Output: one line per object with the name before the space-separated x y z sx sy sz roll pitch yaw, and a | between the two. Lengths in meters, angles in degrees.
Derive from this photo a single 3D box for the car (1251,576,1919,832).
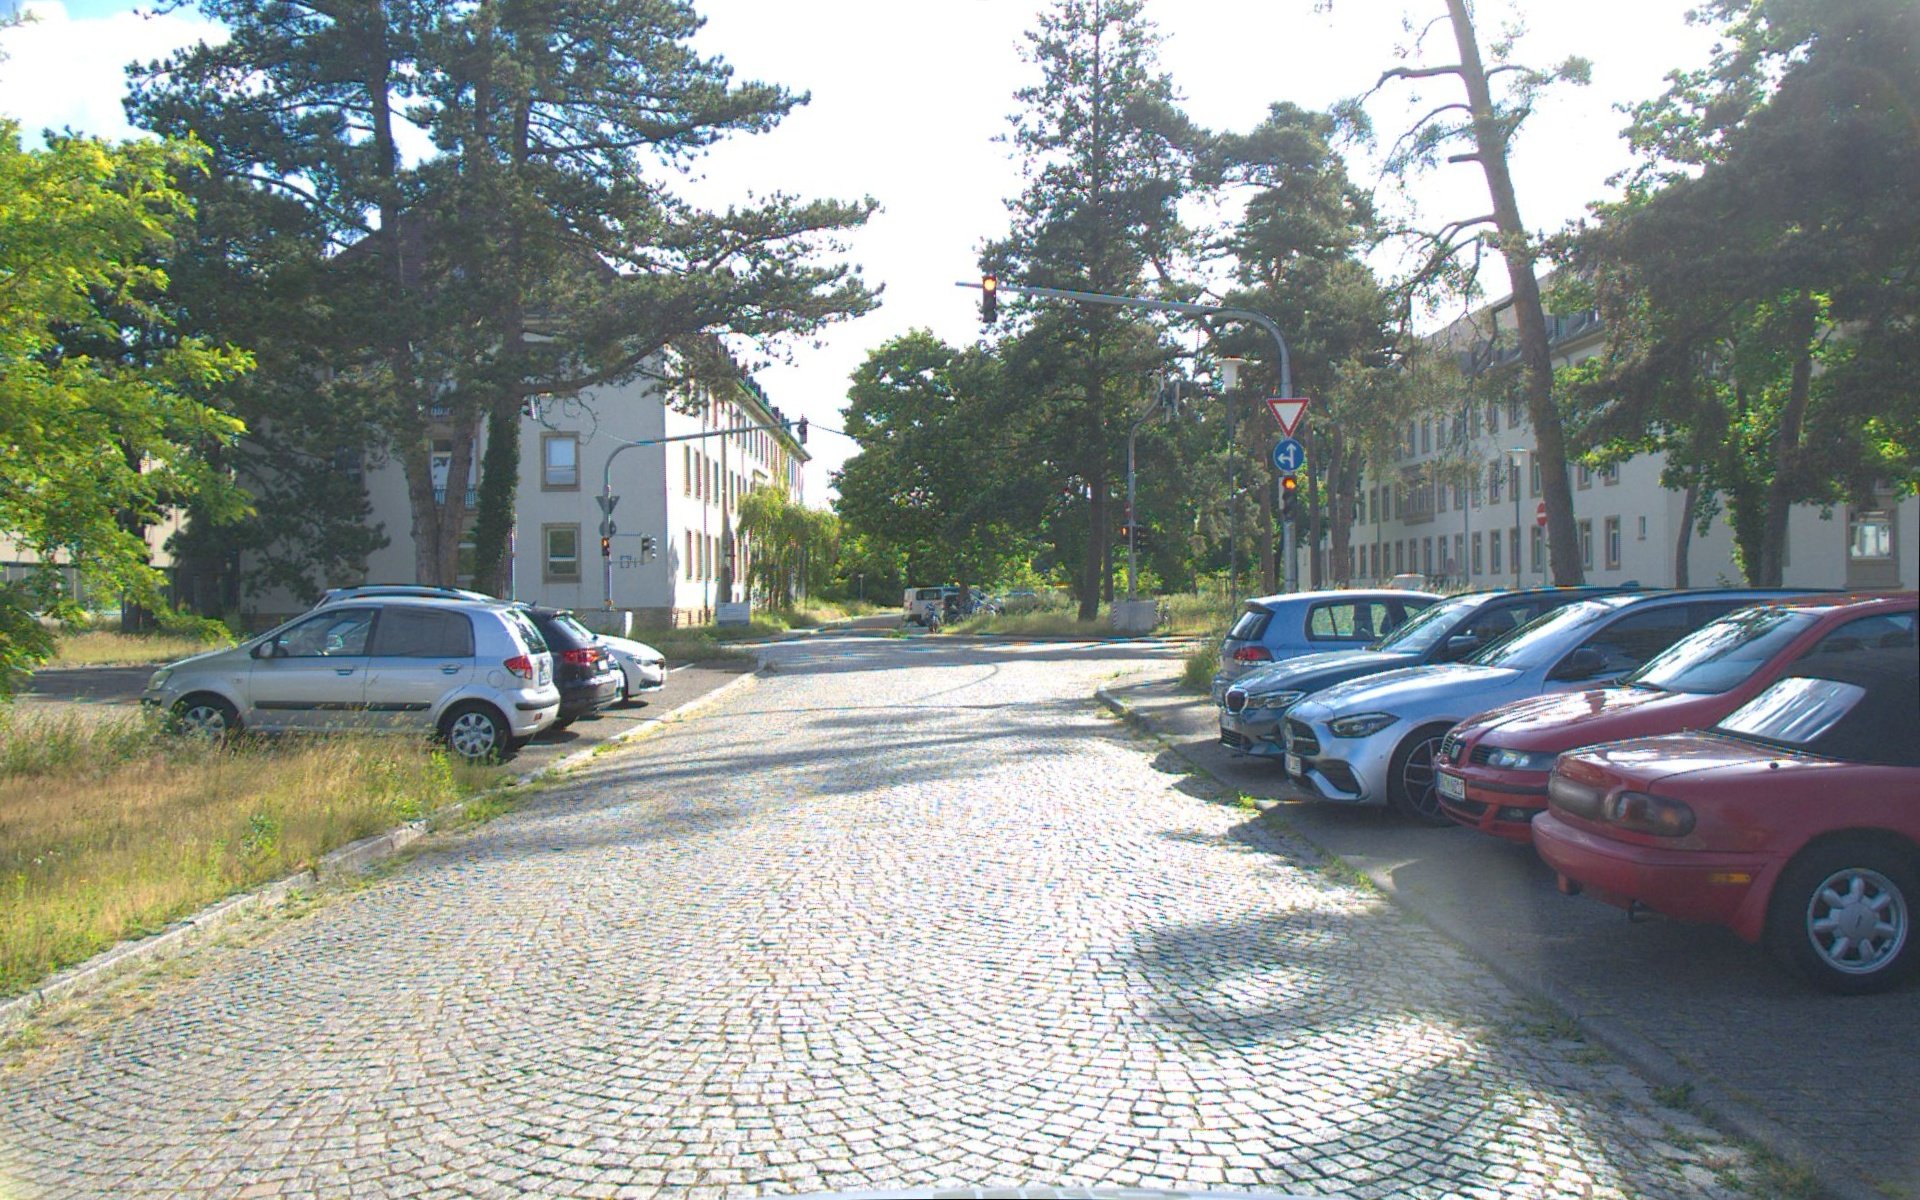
car | 4.363 0.653 11.449 4.342 1.440 1.781 -3 1 -1

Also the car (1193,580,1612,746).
car | 4.416 0.601 16.886 3.803 1.440 1.636 -3 1 -1

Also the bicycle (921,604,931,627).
bicycle | -1.545 0.719 75.362 0.409 1.028 1.483 1 -1 0

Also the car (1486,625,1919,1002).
car | 4.328 0.762 6.966 3.632 1.244 1.746 -3 1 -1

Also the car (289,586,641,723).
car | -6.283 0.669 21.394 4.000 1.621 1.884 1 0 -4

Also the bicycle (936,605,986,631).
bicycle | 0.030 0.730 67.449 1.967 1.028 0.631 1 -1 -9

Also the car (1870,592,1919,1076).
car | 4.734 0.648 4.372 3.632 1.474 1.816 -3 1 -1

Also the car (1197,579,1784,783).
car | 4.404 0.642 14.166 4.467 1.440 1.636 -3 1 -1

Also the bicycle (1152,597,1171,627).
bicycle | 6.541 0.389 53.758 0.294 0.977 1.584 1 -1 -4

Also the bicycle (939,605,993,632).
bicycle | 0.227 0.721 65.687 2.070 1.028 0.620 1 -1 -9

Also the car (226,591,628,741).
car | -5.813 0.701 18.442 3.908 1.506 1.802 1 0 -4

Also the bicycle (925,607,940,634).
bicycle | -1.044 0.767 62.209 0.458 1.028 1.584 1 -1 -4

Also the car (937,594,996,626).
car | 0.312 0.477 80.217 2.728 1.492 1.669 1 -1 -6

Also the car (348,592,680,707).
car | -6.260 0.681 23.605 4.248 1.494 1.829 1 0 -4

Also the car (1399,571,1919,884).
car | 4.732 0.619 9.312 4.043 1.474 1.636 -3 1 -1

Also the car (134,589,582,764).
car | -5.631 0.697 15.823 3.672 1.513 1.644 1 0 -4

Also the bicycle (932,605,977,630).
bicycle | -0.245 0.737 69.200 1.803 1.028 0.635 1 -1 -9

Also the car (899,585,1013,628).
car | -0.184 0.338 83.831 5.438 2.049 1.989 1 -1 -19
